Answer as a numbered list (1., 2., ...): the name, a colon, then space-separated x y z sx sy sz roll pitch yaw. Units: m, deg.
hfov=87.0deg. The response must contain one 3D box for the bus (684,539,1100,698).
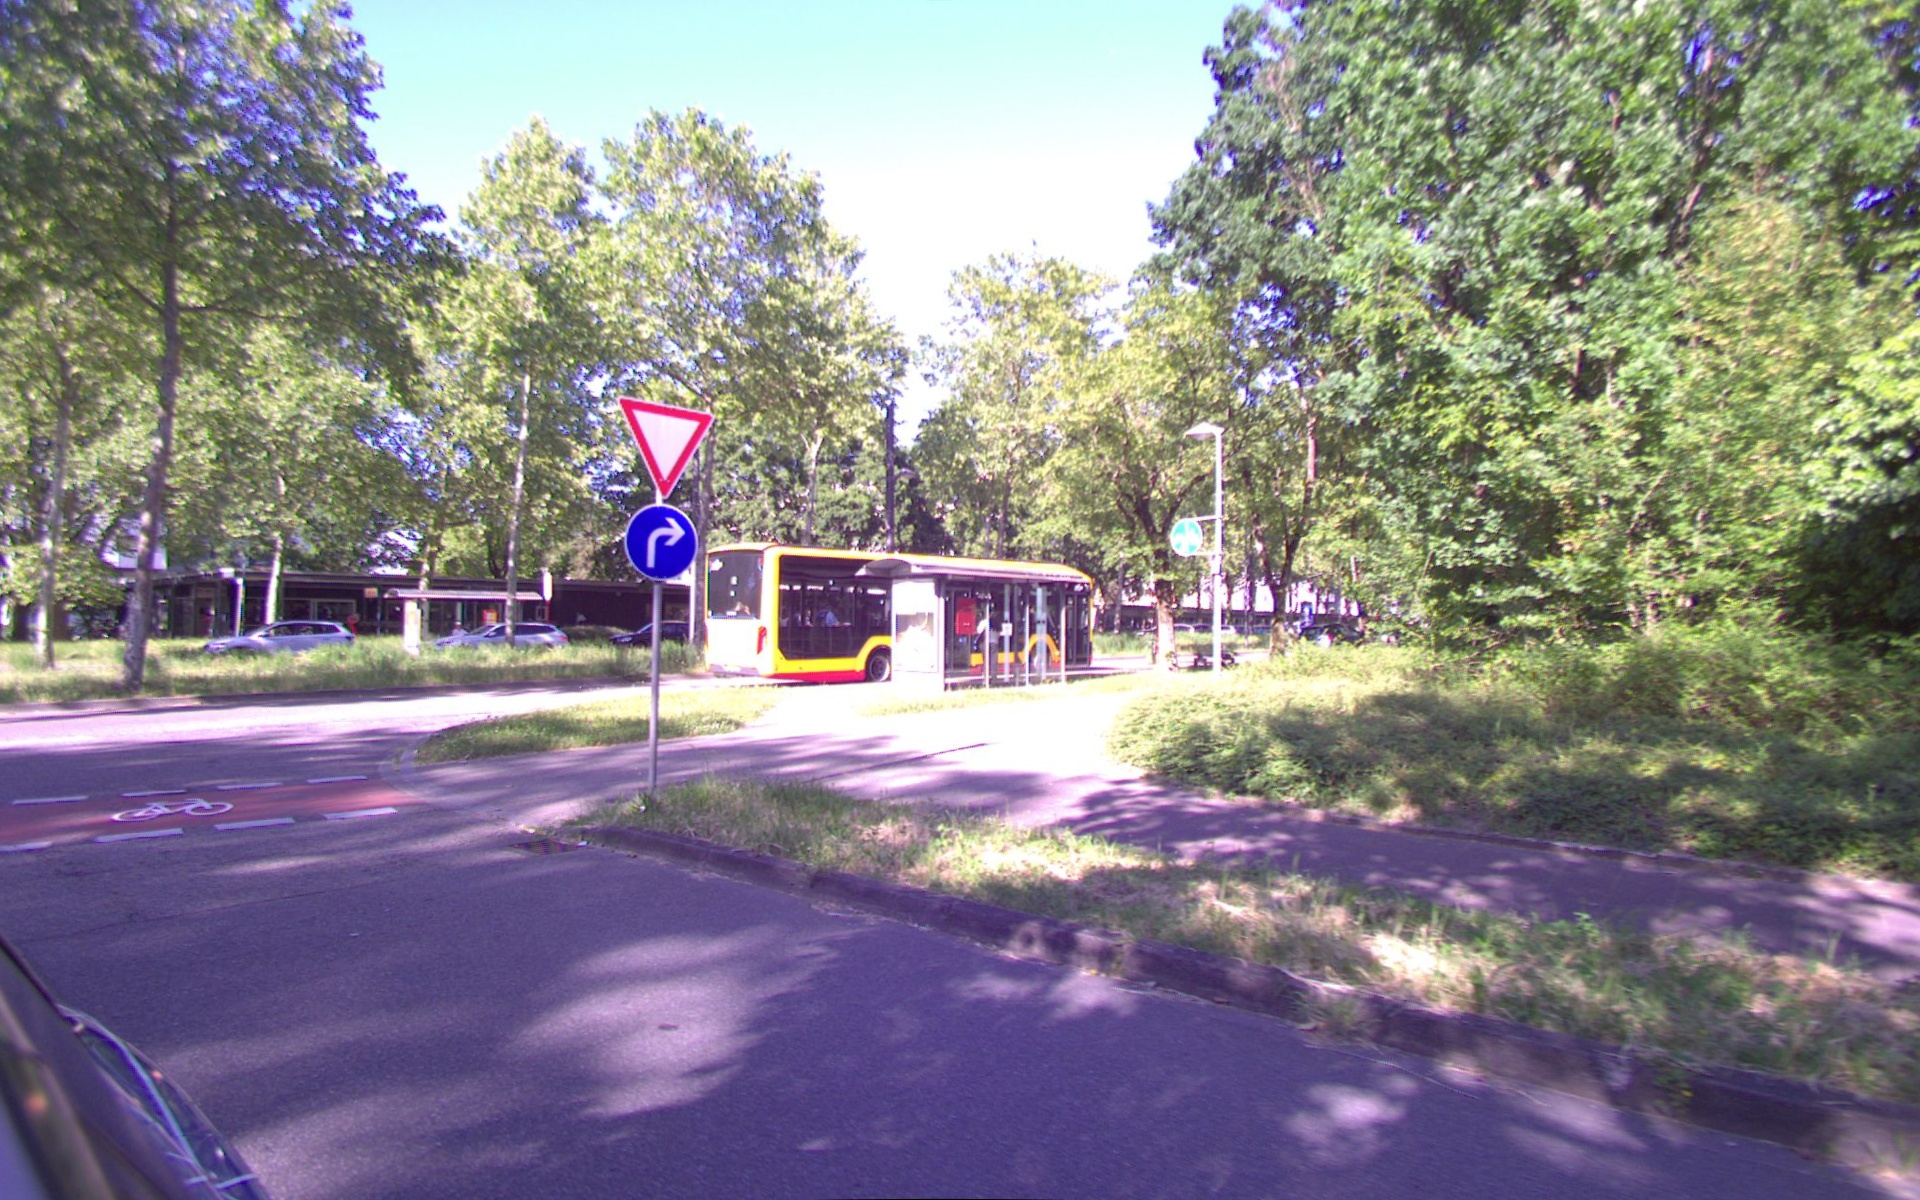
1. bus: -1.080 0.530 26.385 2.910 3.292 12.041 -1 -2 44

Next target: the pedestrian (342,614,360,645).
1. pedestrian: -32.772 1.586 54.445 0.649 1.674 0.641 -1 -2 40

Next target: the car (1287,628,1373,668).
1. car: 14.705 1.855 40.168 1.800 1.522 3.943 -2 -2 43

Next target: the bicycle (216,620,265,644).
1. bicycle: -33.983 1.523 47.832 0.555 1.116 1.778 -1 -2 36

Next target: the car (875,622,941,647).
1. car: -3.219 2.133 62.986 3.946 1.522 1.799 0 -2 2

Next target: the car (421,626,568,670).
1. car: -17.038 1.729 37.212 1.800 1.522 4.609 -2 -2 42

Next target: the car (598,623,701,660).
1. car: -13.541 1.790 44.213 3.940 1.522 1.802 1 -2 -44

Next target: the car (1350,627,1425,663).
1. car: 18.935 1.952 44.726 1.800 1.522 3.943 -2 -2 43

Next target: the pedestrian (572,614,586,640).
1. pedestrian: -24.468 1.727 65.015 0.649 1.674 0.641 -1 -2 40

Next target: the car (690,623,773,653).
1. car: -11.900 1.983 52.922 3.942 1.522 1.800 0 -2 -1

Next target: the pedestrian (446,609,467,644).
1. pedestrian: -21.229 1.110 42.682 0.640 1.471 0.651 2 -2 -43

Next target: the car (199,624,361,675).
1. car: -22.616 1.607 33.770 1.801 1.592 4.224 -2 -2 45

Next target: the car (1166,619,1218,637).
1. car: 19.557 2.361 85.334 3.977 1.522 1.785 -1 -2 25

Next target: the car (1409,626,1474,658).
1. car: 23.895 2.084 50.163 1.800 1.522 3.942 -2 -3 43
